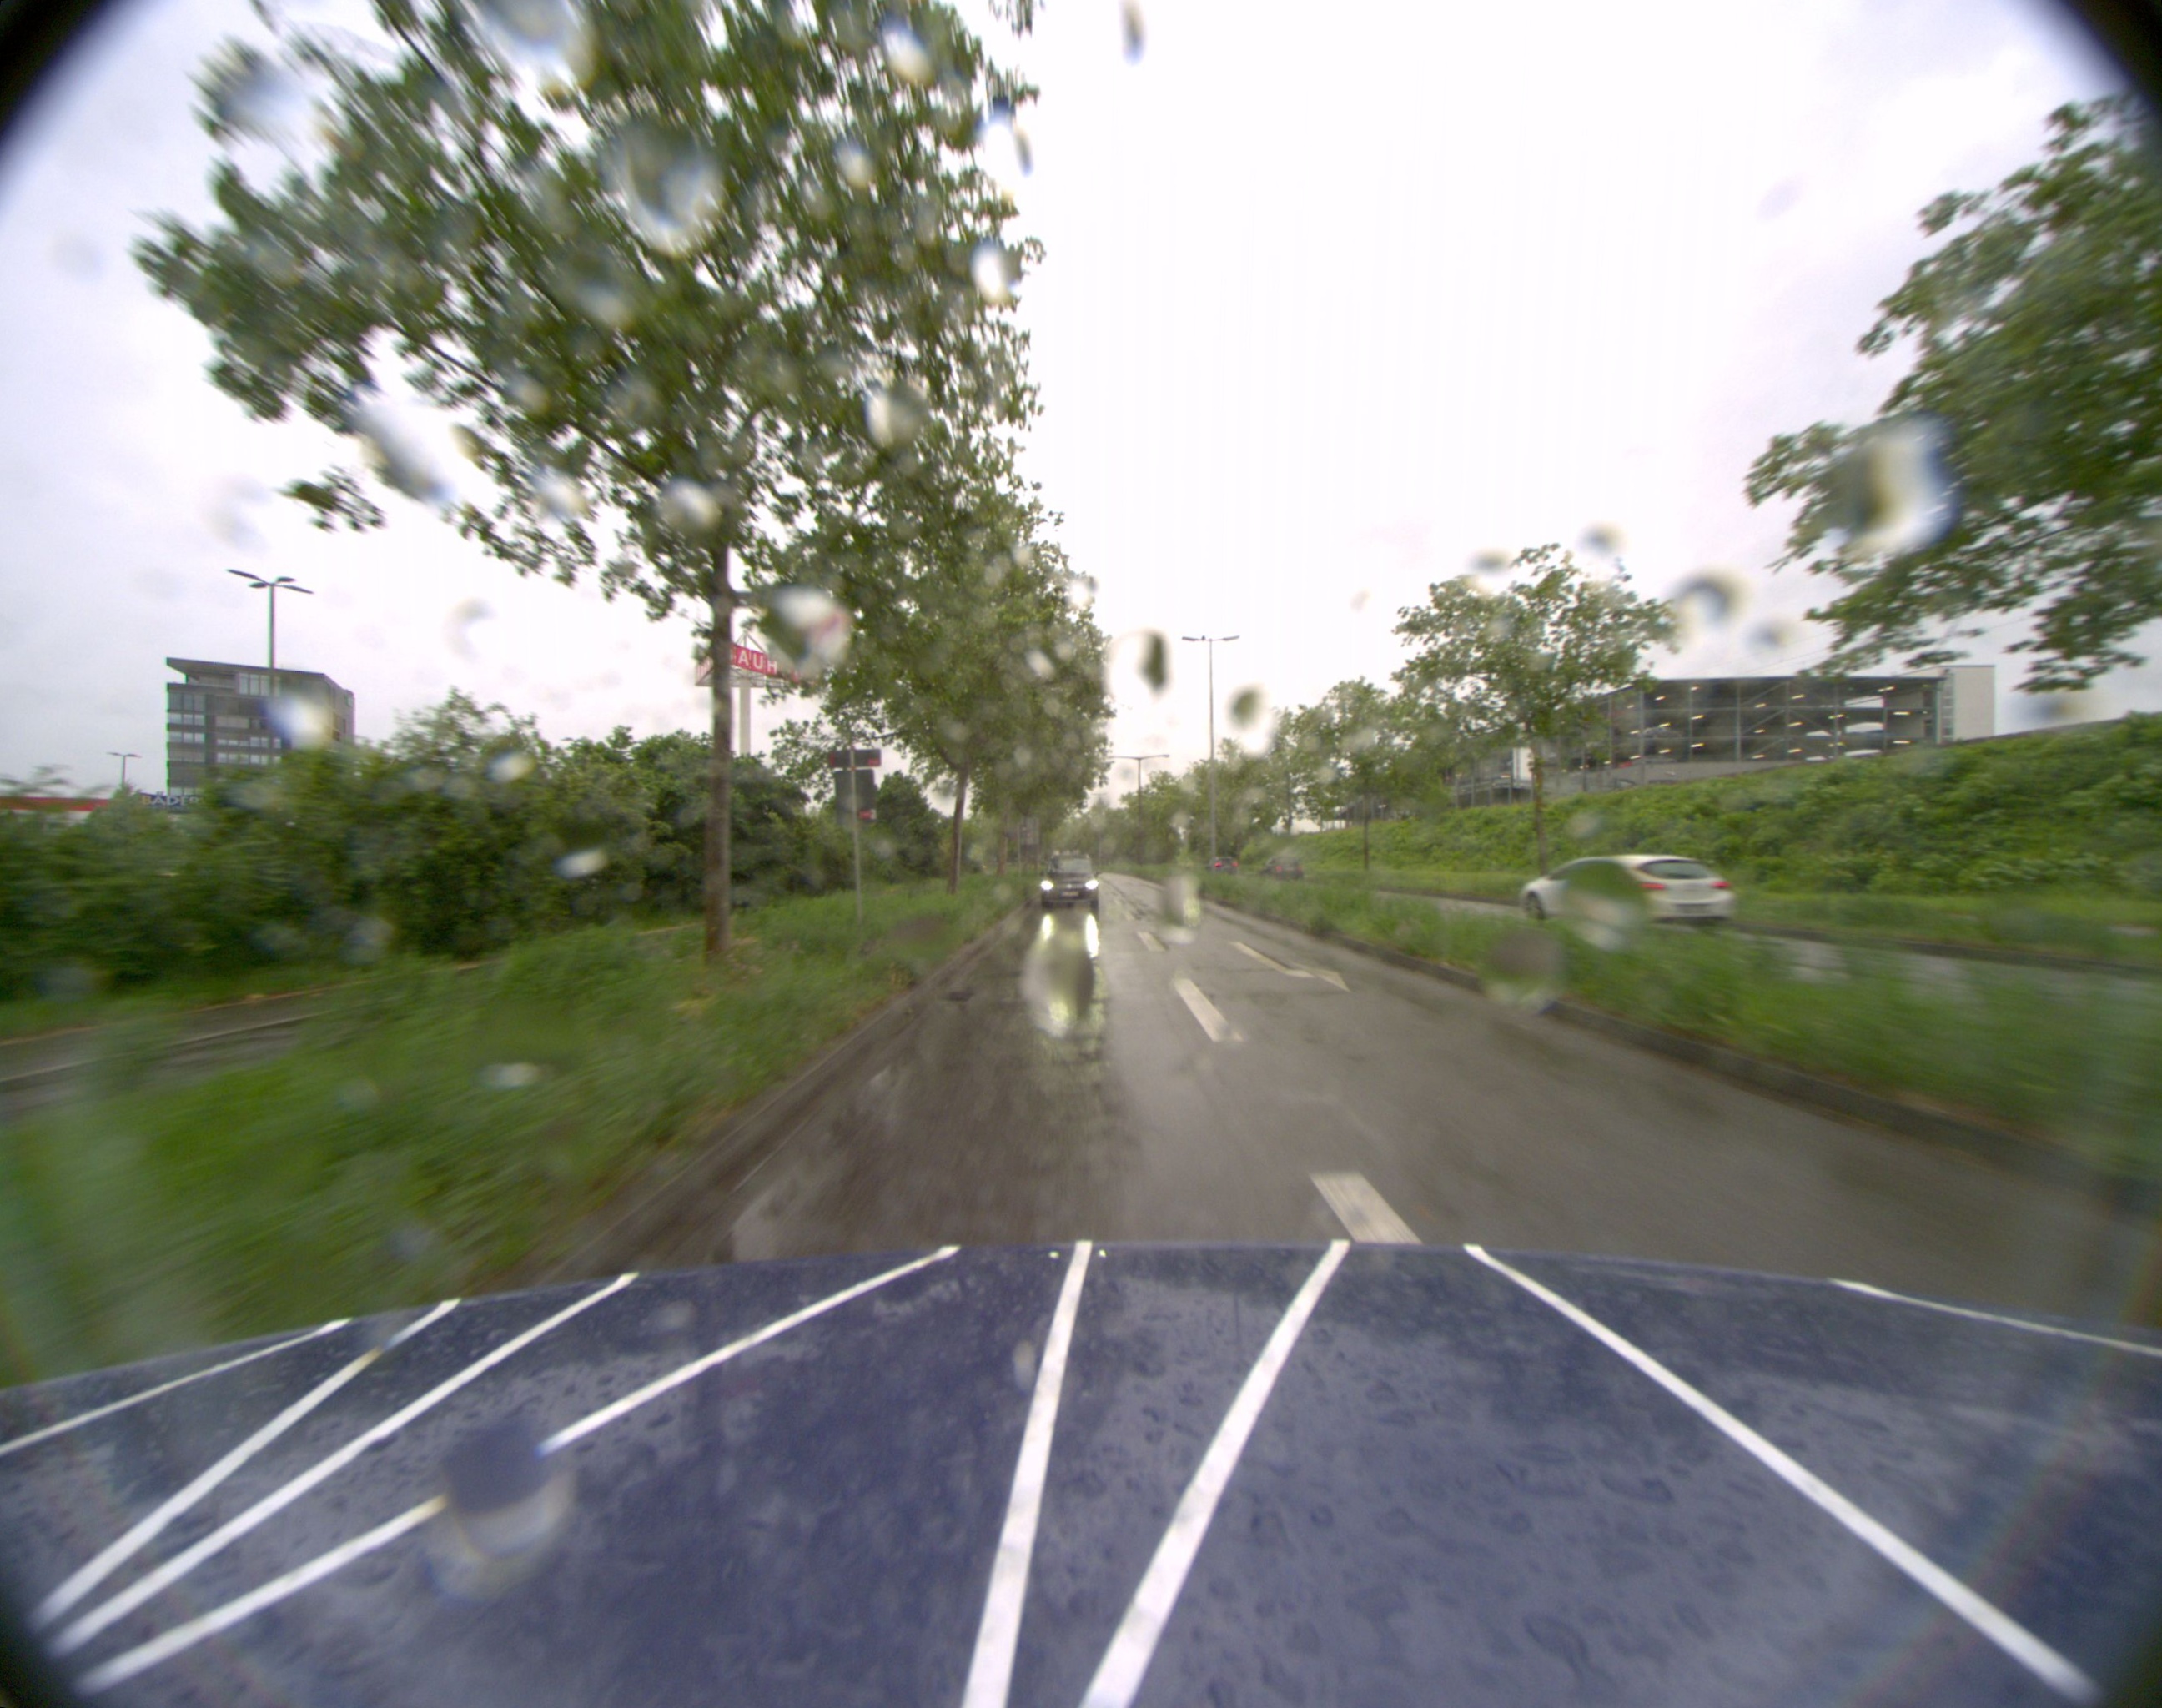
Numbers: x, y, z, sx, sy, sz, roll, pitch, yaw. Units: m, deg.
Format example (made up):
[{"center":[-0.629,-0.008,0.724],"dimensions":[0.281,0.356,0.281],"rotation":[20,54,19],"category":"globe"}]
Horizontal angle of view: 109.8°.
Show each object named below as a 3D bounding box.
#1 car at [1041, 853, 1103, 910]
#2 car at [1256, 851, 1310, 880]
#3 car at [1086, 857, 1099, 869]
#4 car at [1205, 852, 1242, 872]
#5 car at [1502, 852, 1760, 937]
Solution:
[{"center":[-0.213,0.825,25.230],"dimensions":[1.788,1.605,4.717],"rotation":[-2,1,2],"category":"car"},{"center":[10.933,0.598,41.399],"dimensions":[1.936,1.436,3.707],"rotation":[-1,0,0],"category":"car"},{"center":[1.633,1.239,106.611],"dimensions":[1.729,1.470,4.000],"rotation":[-3,0,1],"category":"car"},{"center":[10.724,0.561,57.537],"dimensions":[1.936,1.436,4.496],"rotation":[-1,0,0],"category":"car"},{"center":[10.879,0.707,15.578],"dimensions":[1.936,1.436,4.657],"rotation":[-1,0,0],"category":"car"}]
